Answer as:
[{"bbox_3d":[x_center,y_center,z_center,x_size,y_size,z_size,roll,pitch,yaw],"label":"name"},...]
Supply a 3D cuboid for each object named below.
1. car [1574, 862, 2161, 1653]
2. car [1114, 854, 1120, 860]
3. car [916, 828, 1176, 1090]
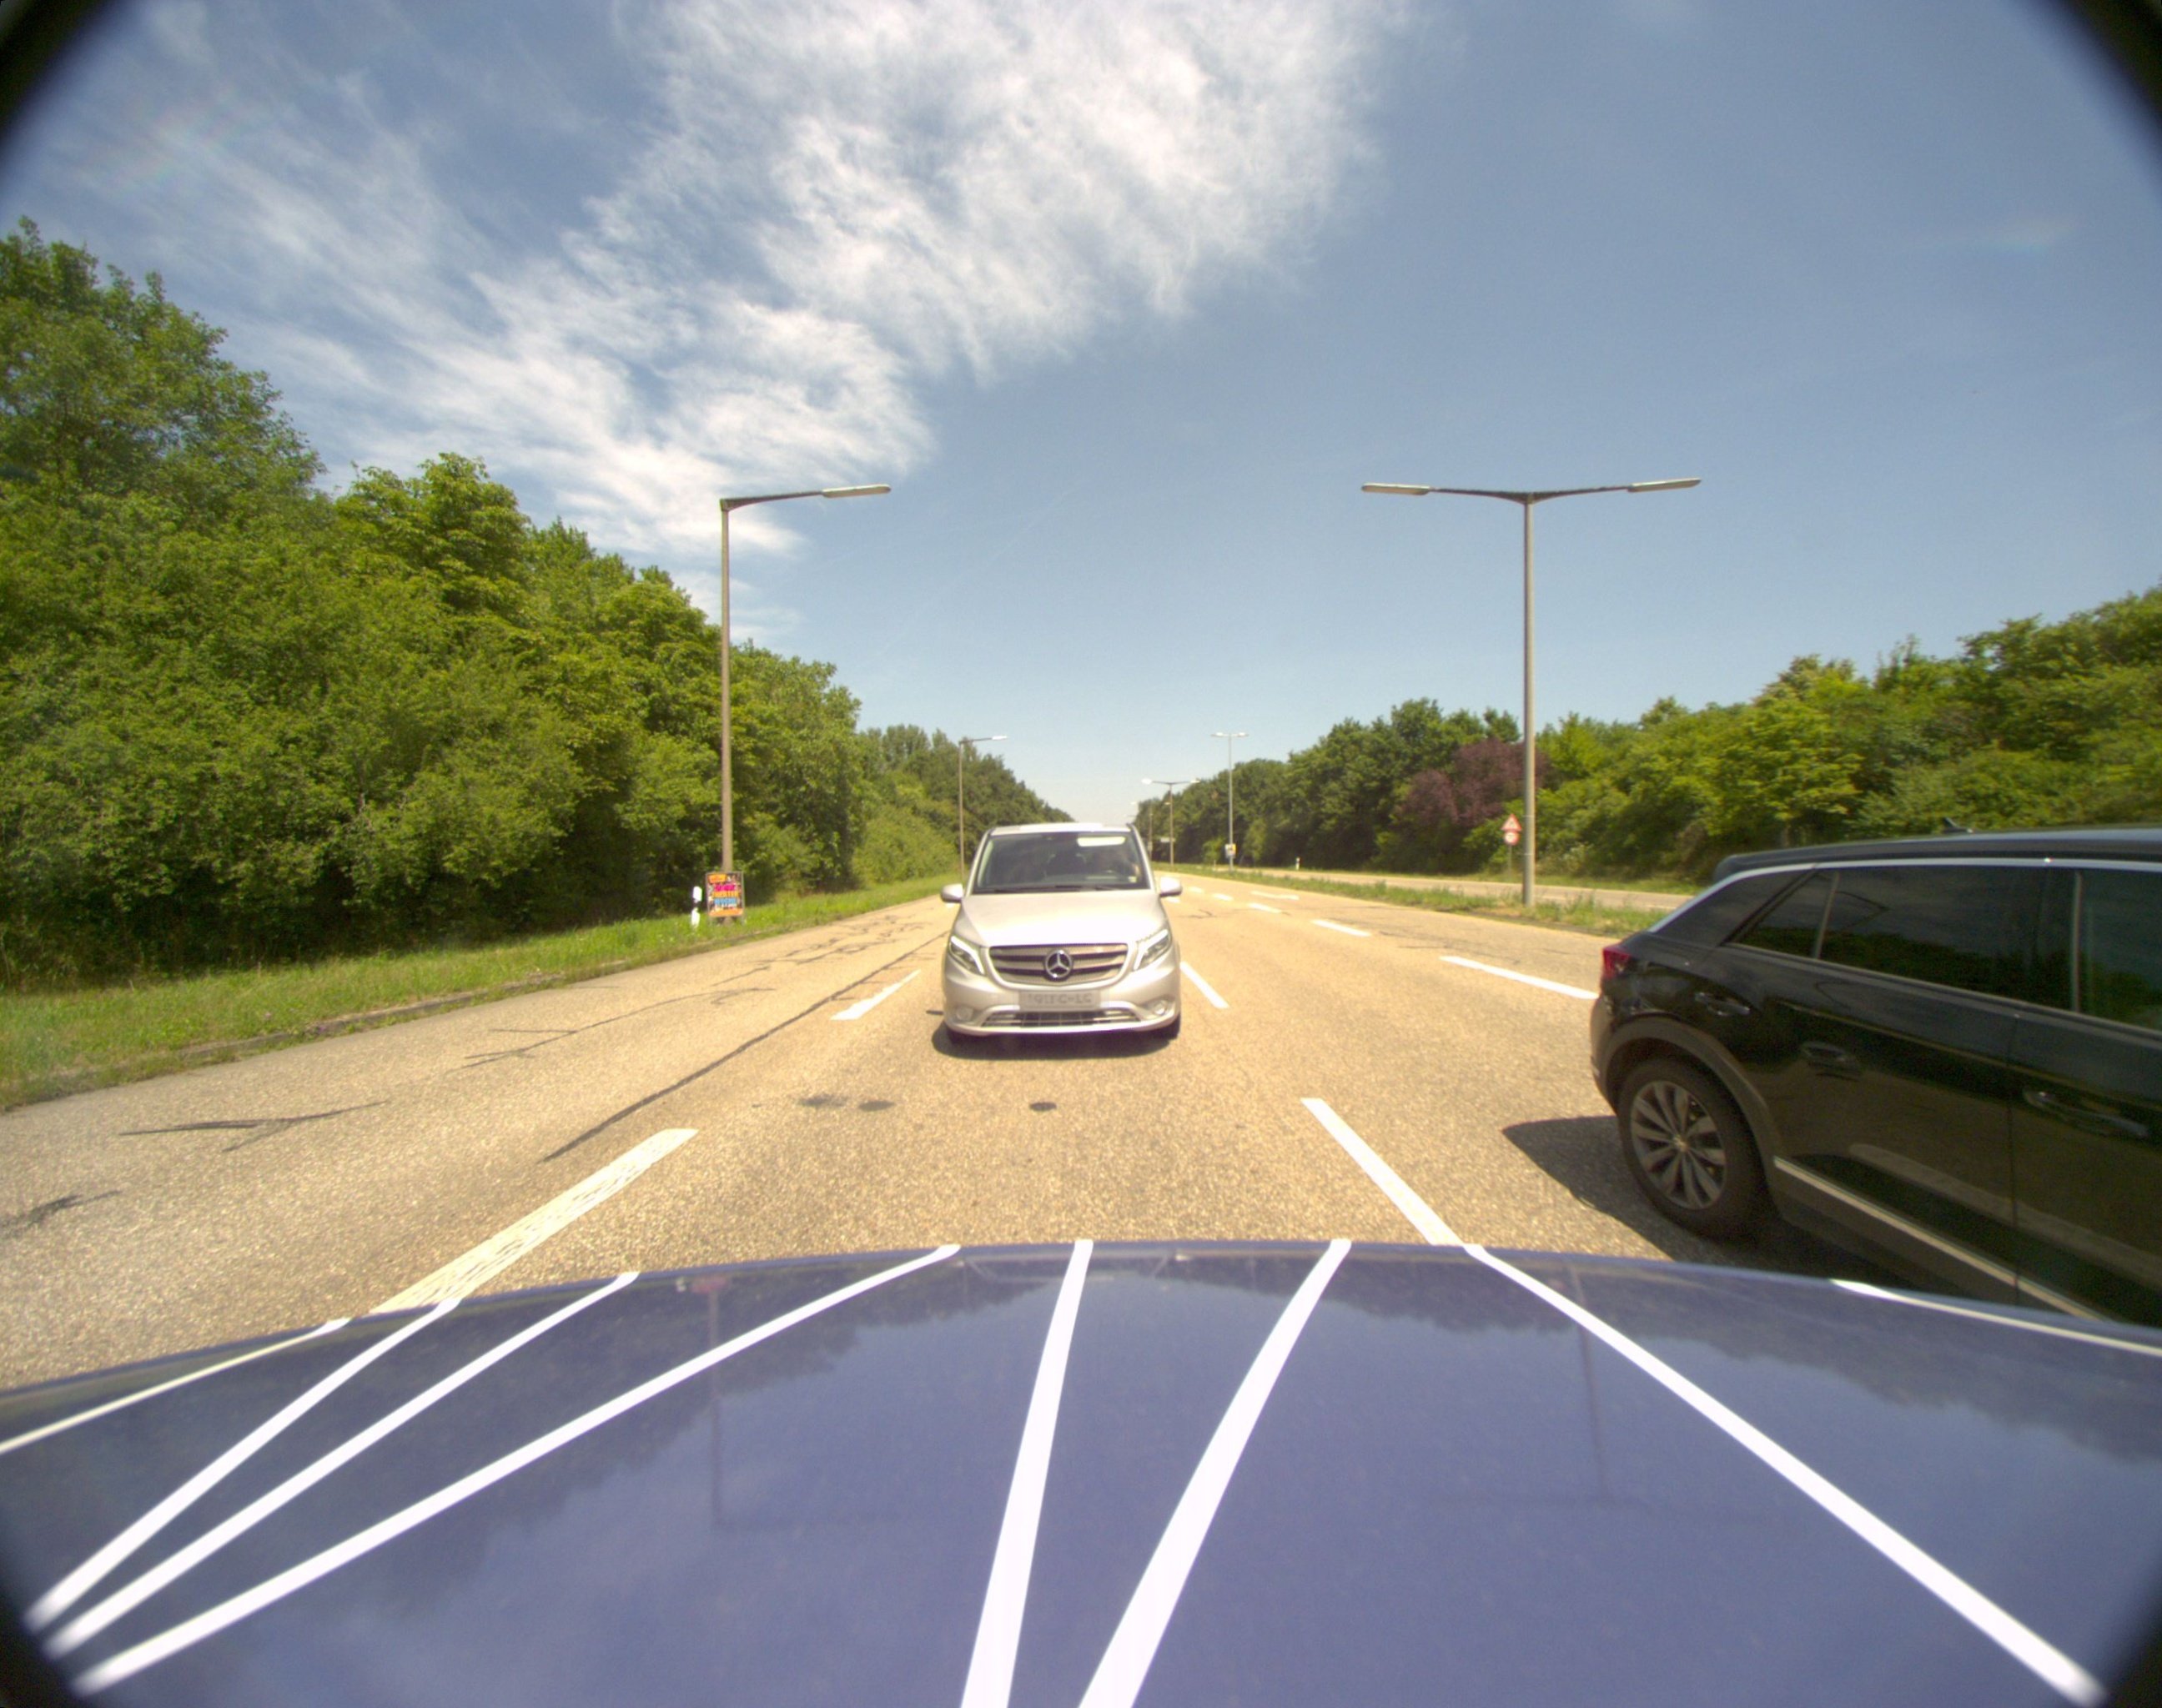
[{"bbox_3d":[3.046,0.851,1.374,1.739,1.503,3.970,-2,1,1],"label":"car"},{"bbox_3d":[11.002,0.952,234.181,1.735,1.815,4.321,-1,0,1],"label":"car"},{"bbox_3d":[-0.221,0.730,7.788,1.764,1.794,4.855,-2,0,1],"label":"car"}]
